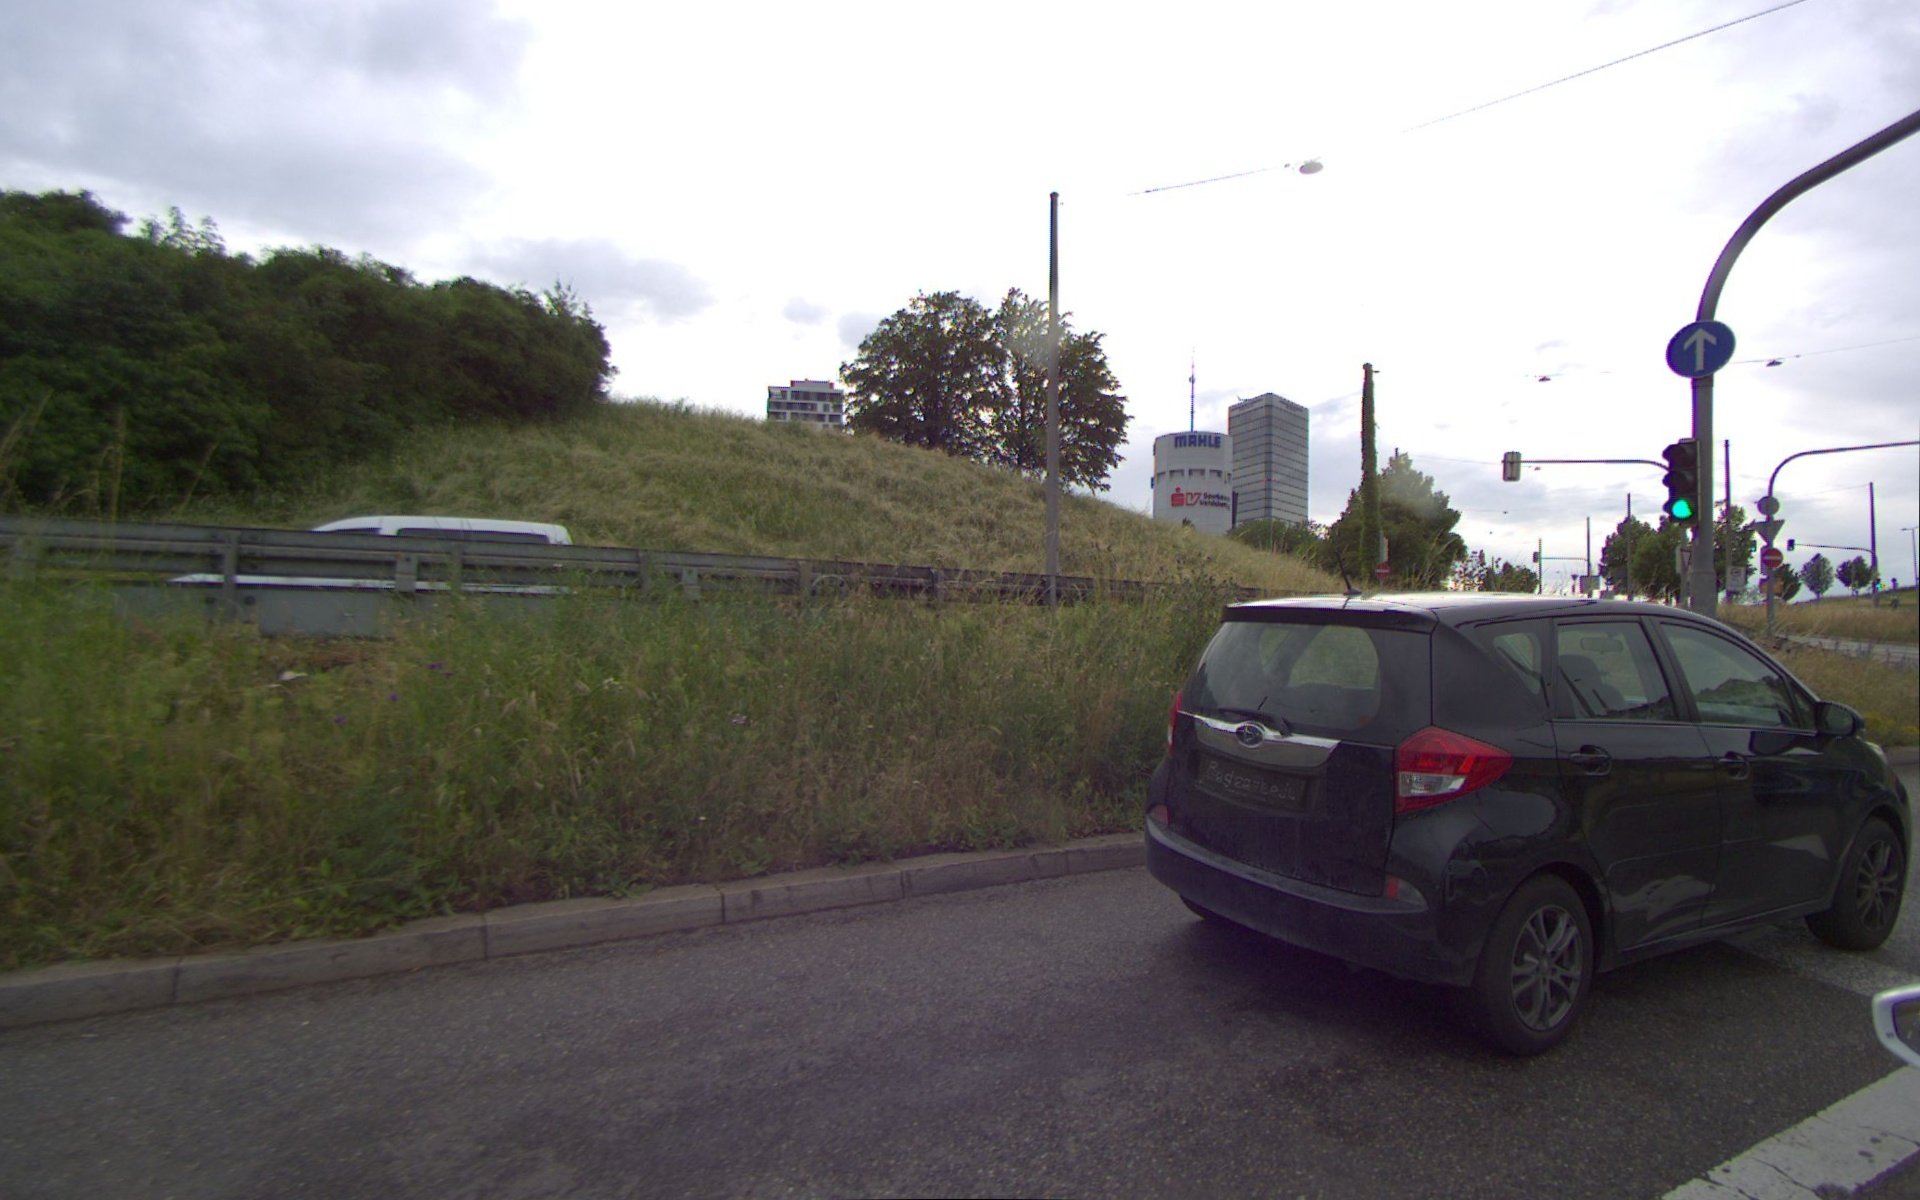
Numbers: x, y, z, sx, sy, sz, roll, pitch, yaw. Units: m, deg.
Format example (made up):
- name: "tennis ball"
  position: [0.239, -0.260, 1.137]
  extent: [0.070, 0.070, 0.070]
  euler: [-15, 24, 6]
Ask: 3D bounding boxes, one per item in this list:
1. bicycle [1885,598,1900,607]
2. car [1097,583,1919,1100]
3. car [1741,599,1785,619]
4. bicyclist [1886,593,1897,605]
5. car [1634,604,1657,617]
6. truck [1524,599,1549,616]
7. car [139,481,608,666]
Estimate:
- name: "bicycle"
  position: [85.472, 0.211, 92.079]
  extent: [0.510, 0.785, 1.620]
  euler: [2, 1, 24]
- name: "car"
  position: [2.657, 0.770, 4.635]
  extent: [3.731, 1.524, 1.635]
  euler: [2, 2, -28]
- name: "car"
  position: [71.076, 0.790, 88.994]
  extent: [1.962, 1.639, 4.847]
  euler: [2, 0, 25]
- name: "bicyclist"
  position: [85.546, -0.055, 92.224]
  extent: [0.515, 1.060, 0.580]
  euler: [3, 2, 24]
- name: "car"
  position: [91.877, 1.401, 134.615]
  extent: [1.963, 1.658, 4.414]
  euler: [3, 1, 28]
- name: "truck"
  position: [117.818, 1.551, 205.243]
  extent: [3.204, 3.116, 6.176]
  euler: [3, 1, 19]
- name: "car"
  position: [-6.986, -0.190, 12.438]
  extent: [4.647, 1.874, 1.806]
  euler: [3, -2, -32]
